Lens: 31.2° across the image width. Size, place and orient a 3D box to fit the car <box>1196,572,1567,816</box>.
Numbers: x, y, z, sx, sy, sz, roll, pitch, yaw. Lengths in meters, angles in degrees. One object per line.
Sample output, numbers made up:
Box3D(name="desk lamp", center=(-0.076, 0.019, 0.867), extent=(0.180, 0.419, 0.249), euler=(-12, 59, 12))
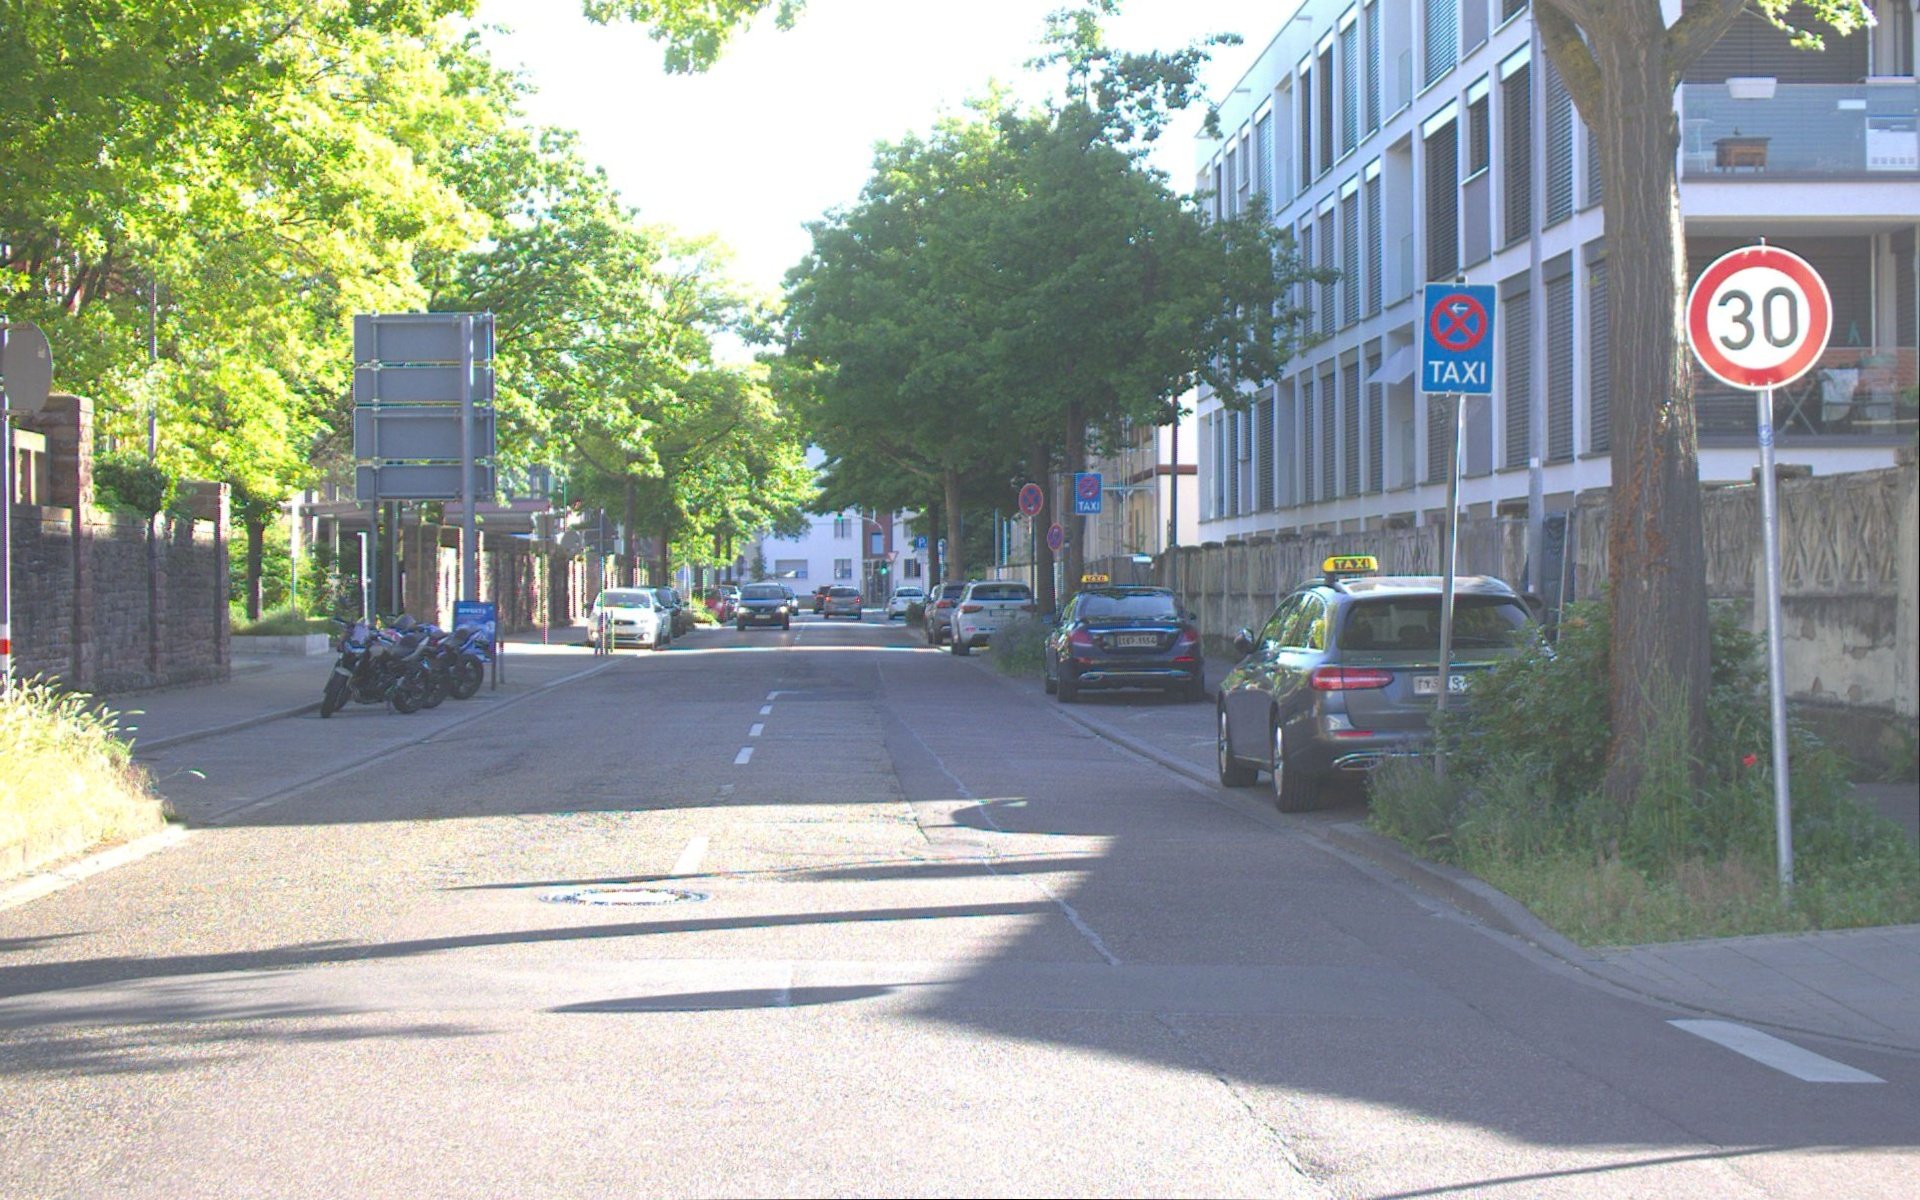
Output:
Box3D(name="car", center=(2.697, 0.551, 23.044), extent=(1.703, 1.463, 4.789), euler=(0, 0, -2))

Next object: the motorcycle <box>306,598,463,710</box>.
Box3D(name="motorcycle", center=(-6.769, 0.615, 40.546), extent=(0.577, 1.271, 2.118), euler=(0, 0, 31))

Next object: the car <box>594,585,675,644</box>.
Box3D(name="car", center=(-8.582, 0.368, 90.929), extent=(1.907, 1.525, 4.000), euler=(0, 0, -2))

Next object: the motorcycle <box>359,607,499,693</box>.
Box3D(name="motorcycle", center=(-6.903, 0.637, 44.803), extent=(0.577, 1.071, 2.118), euler=(0, 0, 31))

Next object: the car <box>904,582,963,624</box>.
Box3D(name="car", center=(-0.931, 0.097, 119.934), extent=(1.993, 1.420, 3.836), euler=(0, 0, -1))

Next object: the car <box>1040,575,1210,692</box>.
Box3D(name="car", center=(2.083, 0.404, 44.337), extent=(1.767, 1.435, 4.000), euler=(0, 0, -3))

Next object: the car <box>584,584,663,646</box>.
Box3D(name="car", center=(-8.289, 0.361, 84.882), extent=(1.767, 1.482, 4.000), euler=(0, 0, -3))

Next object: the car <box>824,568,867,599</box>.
Box3D(name="car", center=(-5.144, -0.751, 155.009), extent=(1.889, 1.395, 3.836), euler=(0, 1, -1))

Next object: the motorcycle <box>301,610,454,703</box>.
Box3D(name="motorcycle", center=(-7.053, 0.669, 41.732), extent=(0.577, 1.071, 2.118), euler=(0, 0, 31))

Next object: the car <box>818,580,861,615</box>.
Box3D(name="car", center=(-5.455, -0.129, 155.134), extent=(1.766, 1.543, 4.067), euler=(0, 0, -5))

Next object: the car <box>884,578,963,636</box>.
Box3D(name="car", center=(-0.962, 0.160, 88.752), extent=(1.993, 1.460, 3.836), euler=(0, 0, -1))

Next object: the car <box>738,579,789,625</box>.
Box3D(name="car", center=(-6.673, 0.047, 116.917), extent=(1.653, 1.525, 4.000), euler=(0, 0, -2))

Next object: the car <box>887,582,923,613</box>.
Box3D(name="car", center=(-2.460, -0.115, 154.100), extent=(1.585, 1.395, 3.836), euler=(0, 0, -1))

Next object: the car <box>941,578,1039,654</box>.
Box3D(name="car", center=(0.608, 0.318, 73.043), extent=(1.950, 1.573, 3.836), euler=(0, 0, -1))
